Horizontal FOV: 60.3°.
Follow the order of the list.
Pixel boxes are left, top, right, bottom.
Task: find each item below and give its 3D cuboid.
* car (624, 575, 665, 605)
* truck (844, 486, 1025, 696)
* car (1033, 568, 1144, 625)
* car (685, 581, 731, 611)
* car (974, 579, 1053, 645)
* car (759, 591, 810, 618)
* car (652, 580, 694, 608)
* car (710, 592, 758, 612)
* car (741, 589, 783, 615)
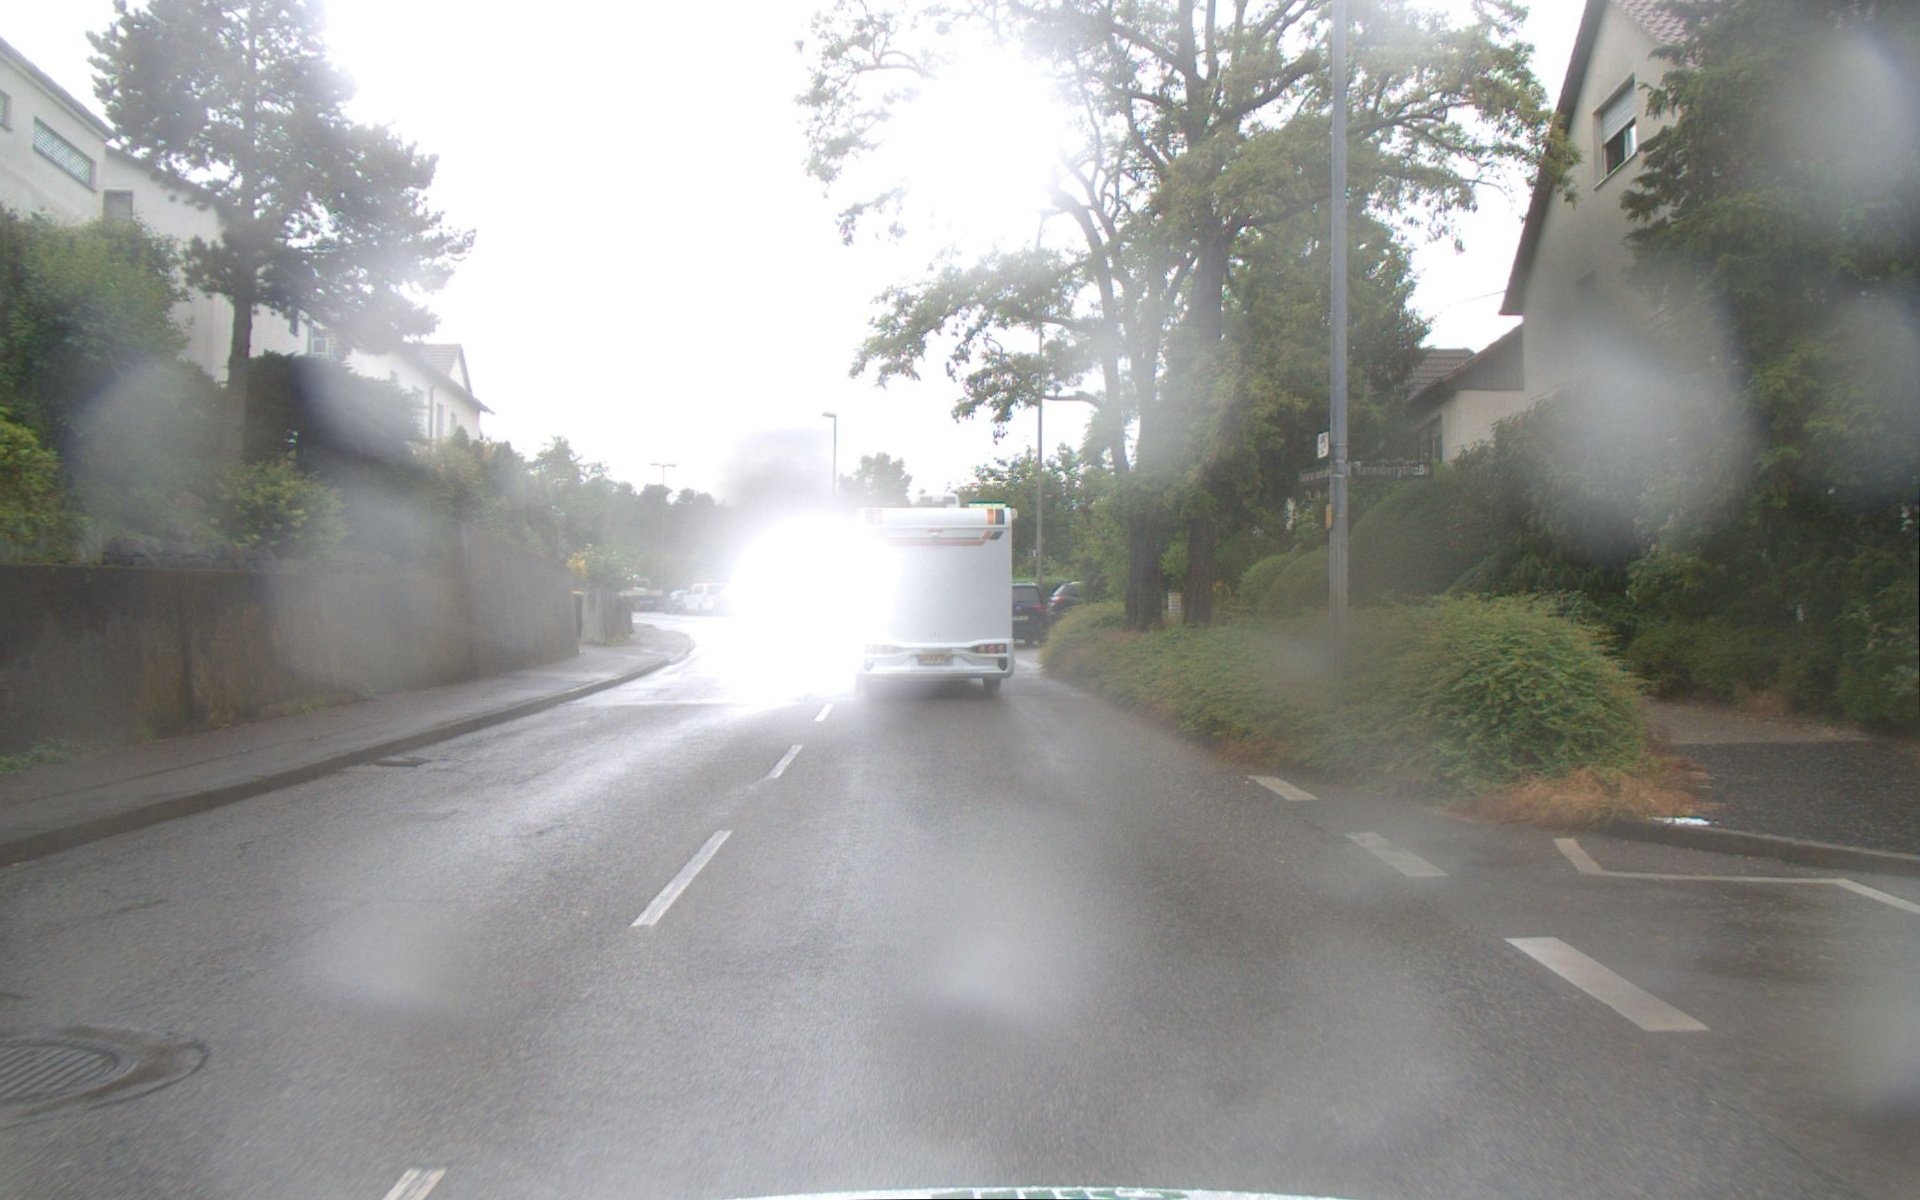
[{"bbox_3d":[-22.456,-0.705,117.605,1.719,2.079,4.476,1,0,-26],"label":"car"},{"bbox_3d":[-0.558,-0.137,25.946,2.466,2.867,6.196,1,0,-4],"label":"truck"},{"bbox_3d":[4.530,-0.107,58.584,3.554,1.693,1.998,4,-3,-5],"label":"car"},{"bbox_3d":[-15.491,-0.263,101.496,1.626,1.750,3.966,1,0,-26],"label":"car"},{"bbox_3d":[1.389,0.308,44.515,1.953,1.668,3.999,1,0,-1],"label":"car"},{"bbox_3d":[-9.188,0.205,86.606,1.520,1.350,3.835,1,0,-25],"label":"car"},{"bbox_3d":[-18.548,-0.394,106.803,1.626,1.750,3.966,1,0,-26],"label":"car"},{"bbox_3d":[-13.266,0.118,96.807,1.626,1.120,3.966,1,0,-26],"label":"car"},{"bbox_3d":[-10.953,0.102,91.322,1.517,1.350,3.978,1,0,-19],"label":"car"}]
